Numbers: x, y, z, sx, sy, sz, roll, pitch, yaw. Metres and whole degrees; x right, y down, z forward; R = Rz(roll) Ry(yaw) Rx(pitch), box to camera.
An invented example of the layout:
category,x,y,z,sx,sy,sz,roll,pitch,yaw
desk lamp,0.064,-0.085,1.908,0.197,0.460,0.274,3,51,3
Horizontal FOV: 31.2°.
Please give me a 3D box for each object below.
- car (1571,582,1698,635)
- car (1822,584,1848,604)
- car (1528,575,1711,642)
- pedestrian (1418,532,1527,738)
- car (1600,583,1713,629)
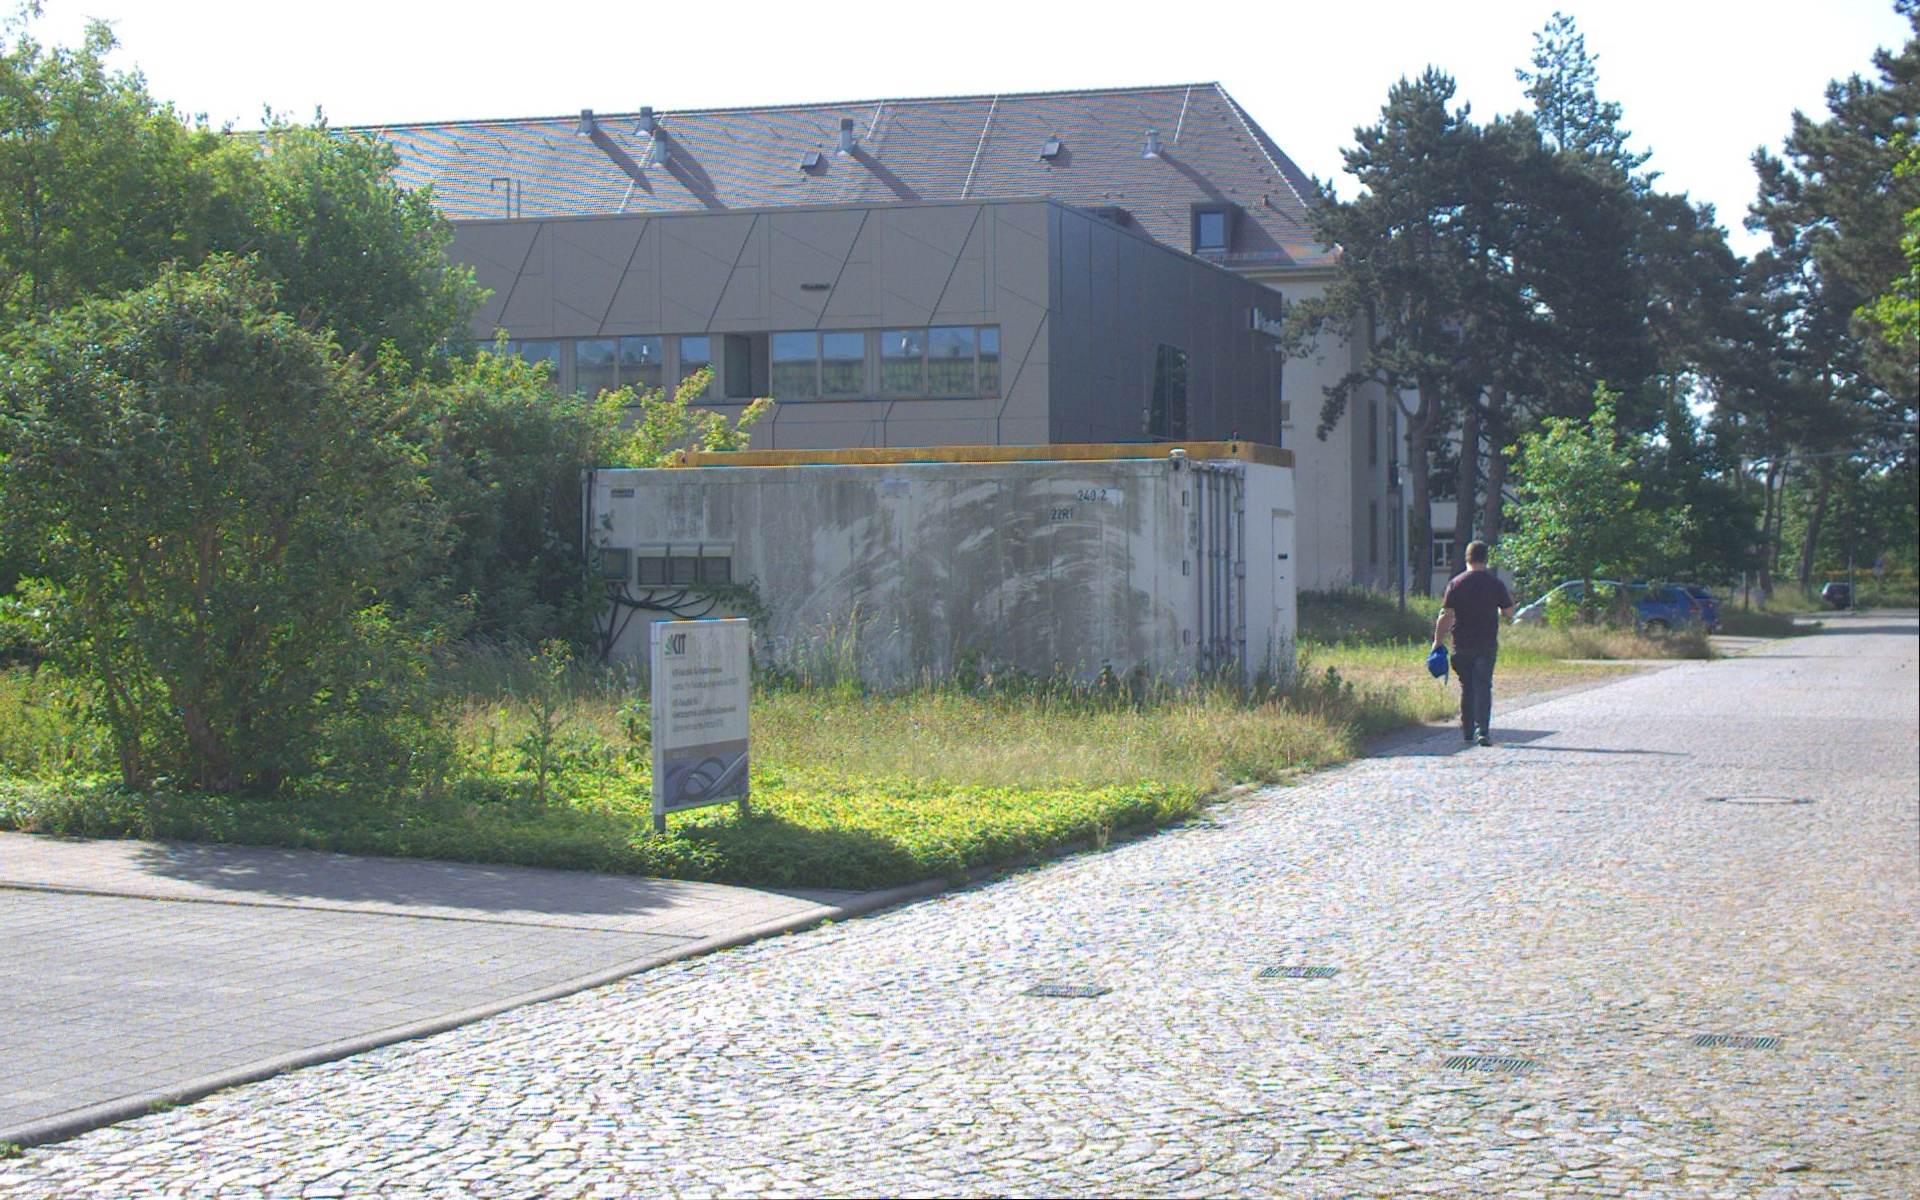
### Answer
category,x,y,z,sx,sy,sz,roll,pitch,yaw
car,16.065,0.192,81.937,2.903,1.255,1.287,0,0,8
car,48.995,-0.356,192.436,1.370,1.095,2.861,0,0,14
car,14.402,0.166,74.983,3.835,1.436,1.582,0,0,14
pedestrian,4.553,0.300,30.470,0.795,1.774,1.068,2,0,15
car,18.431,0.150,91.028,2.854,1.202,1.373,0,0,8
